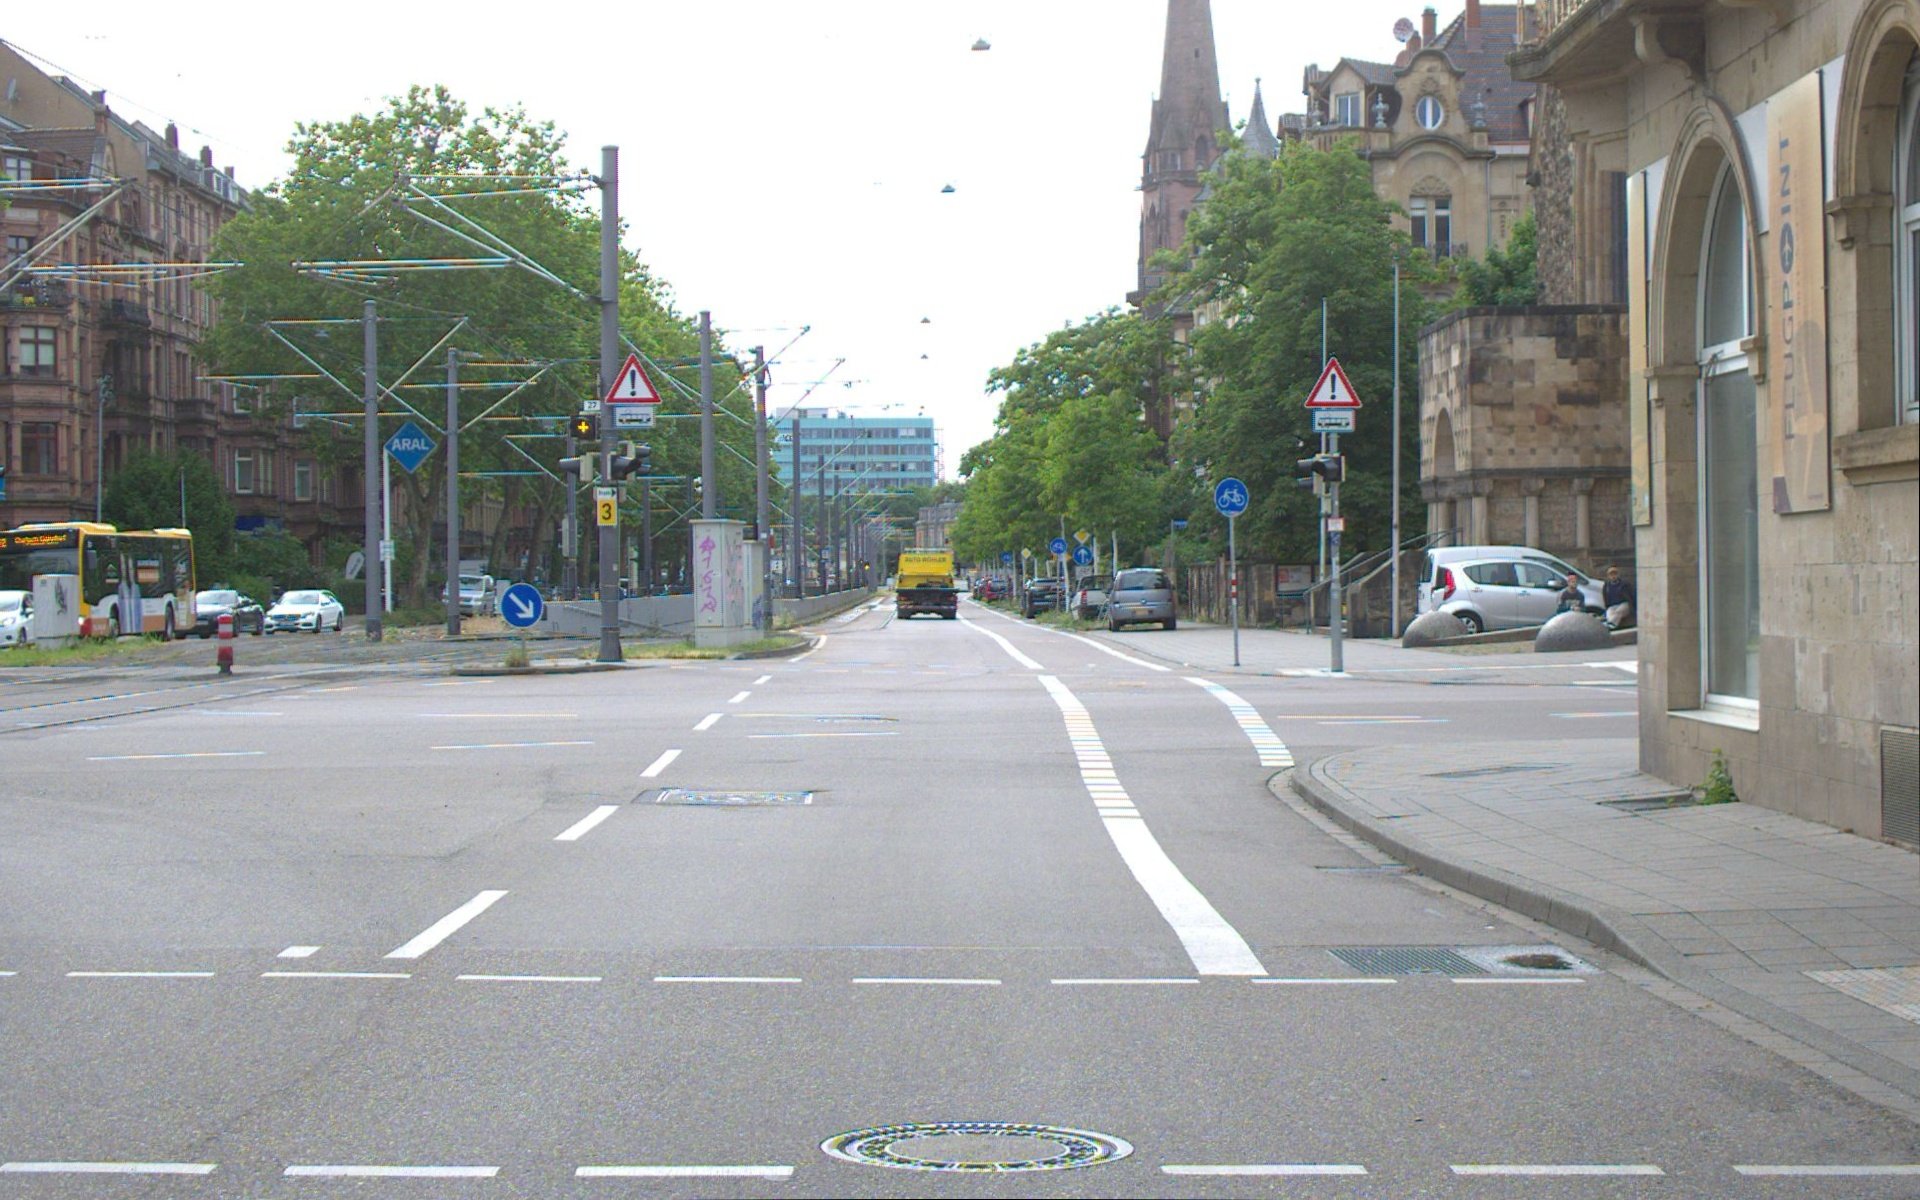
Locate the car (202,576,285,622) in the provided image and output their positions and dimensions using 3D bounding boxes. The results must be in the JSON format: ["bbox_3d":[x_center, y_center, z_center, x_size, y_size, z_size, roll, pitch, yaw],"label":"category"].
[{"bbox_3d":[-21.291,-0.044,102.270,1.656,1.316,3.638,1,1,1],"label":"car"}]

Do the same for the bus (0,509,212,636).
[{"bbox_3d":[-22.478,-0.724,89.087,3.231,3.025,12.311,1,1,1],"label":"bus"}]

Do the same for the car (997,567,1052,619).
[{"bbox_3d":[2.537,-0.280,135.982,1.993,2.007,4.000,1,1,-1],"label":"car"}]

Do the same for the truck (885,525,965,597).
[{"bbox_3d":[-1.350,-1.564,137.529,3.055,2.760,9.815,0,1,0],"label":"truck"}]

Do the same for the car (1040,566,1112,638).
[{"bbox_3d":[3.343,0.029,99.610,1.993,2.007,4.000,1,1,1],"label":"car"}]

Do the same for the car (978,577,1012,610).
[{"bbox_3d":[2.192,-0.407,216.829,1.993,2.007,4.000,1,1,-1],"label":"car"}]

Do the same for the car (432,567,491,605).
[{"bbox_3d":[-21.630,-0.634,149.329,1.993,1.605,4.000,1,1,-1],"label":"car"}]

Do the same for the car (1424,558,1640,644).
[{"bbox_3d":[10.765,0.011,64.910,3.713,1.558,2.000,1,0,0],"label":"car"}]

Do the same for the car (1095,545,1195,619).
[{"bbox_3d":[4.868,-0.476,89.977,1.994,1.849,4.024,1,1,12],"label":"car"}]

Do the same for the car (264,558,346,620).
[{"bbox_3d":[-21.924,-0.372,115.195,1.993,2.007,4.000,1,1,-1],"label":"car"}]

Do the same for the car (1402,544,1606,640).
[{"bbox_3d":[10.793,-0.166,68.397,3.713,1.849,2.000,1,0,0],"label":"car"}]

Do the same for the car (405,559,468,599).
[{"bbox_3d":[-21.539,-0.874,141.513,1.993,1.605,4.000,1,1,-1],"label":"car"}]

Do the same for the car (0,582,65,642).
[{"bbox_3d":[-21.910,0.265,79.038,1.656,1.316,3.638,1,1,1],"label":"car"}]
